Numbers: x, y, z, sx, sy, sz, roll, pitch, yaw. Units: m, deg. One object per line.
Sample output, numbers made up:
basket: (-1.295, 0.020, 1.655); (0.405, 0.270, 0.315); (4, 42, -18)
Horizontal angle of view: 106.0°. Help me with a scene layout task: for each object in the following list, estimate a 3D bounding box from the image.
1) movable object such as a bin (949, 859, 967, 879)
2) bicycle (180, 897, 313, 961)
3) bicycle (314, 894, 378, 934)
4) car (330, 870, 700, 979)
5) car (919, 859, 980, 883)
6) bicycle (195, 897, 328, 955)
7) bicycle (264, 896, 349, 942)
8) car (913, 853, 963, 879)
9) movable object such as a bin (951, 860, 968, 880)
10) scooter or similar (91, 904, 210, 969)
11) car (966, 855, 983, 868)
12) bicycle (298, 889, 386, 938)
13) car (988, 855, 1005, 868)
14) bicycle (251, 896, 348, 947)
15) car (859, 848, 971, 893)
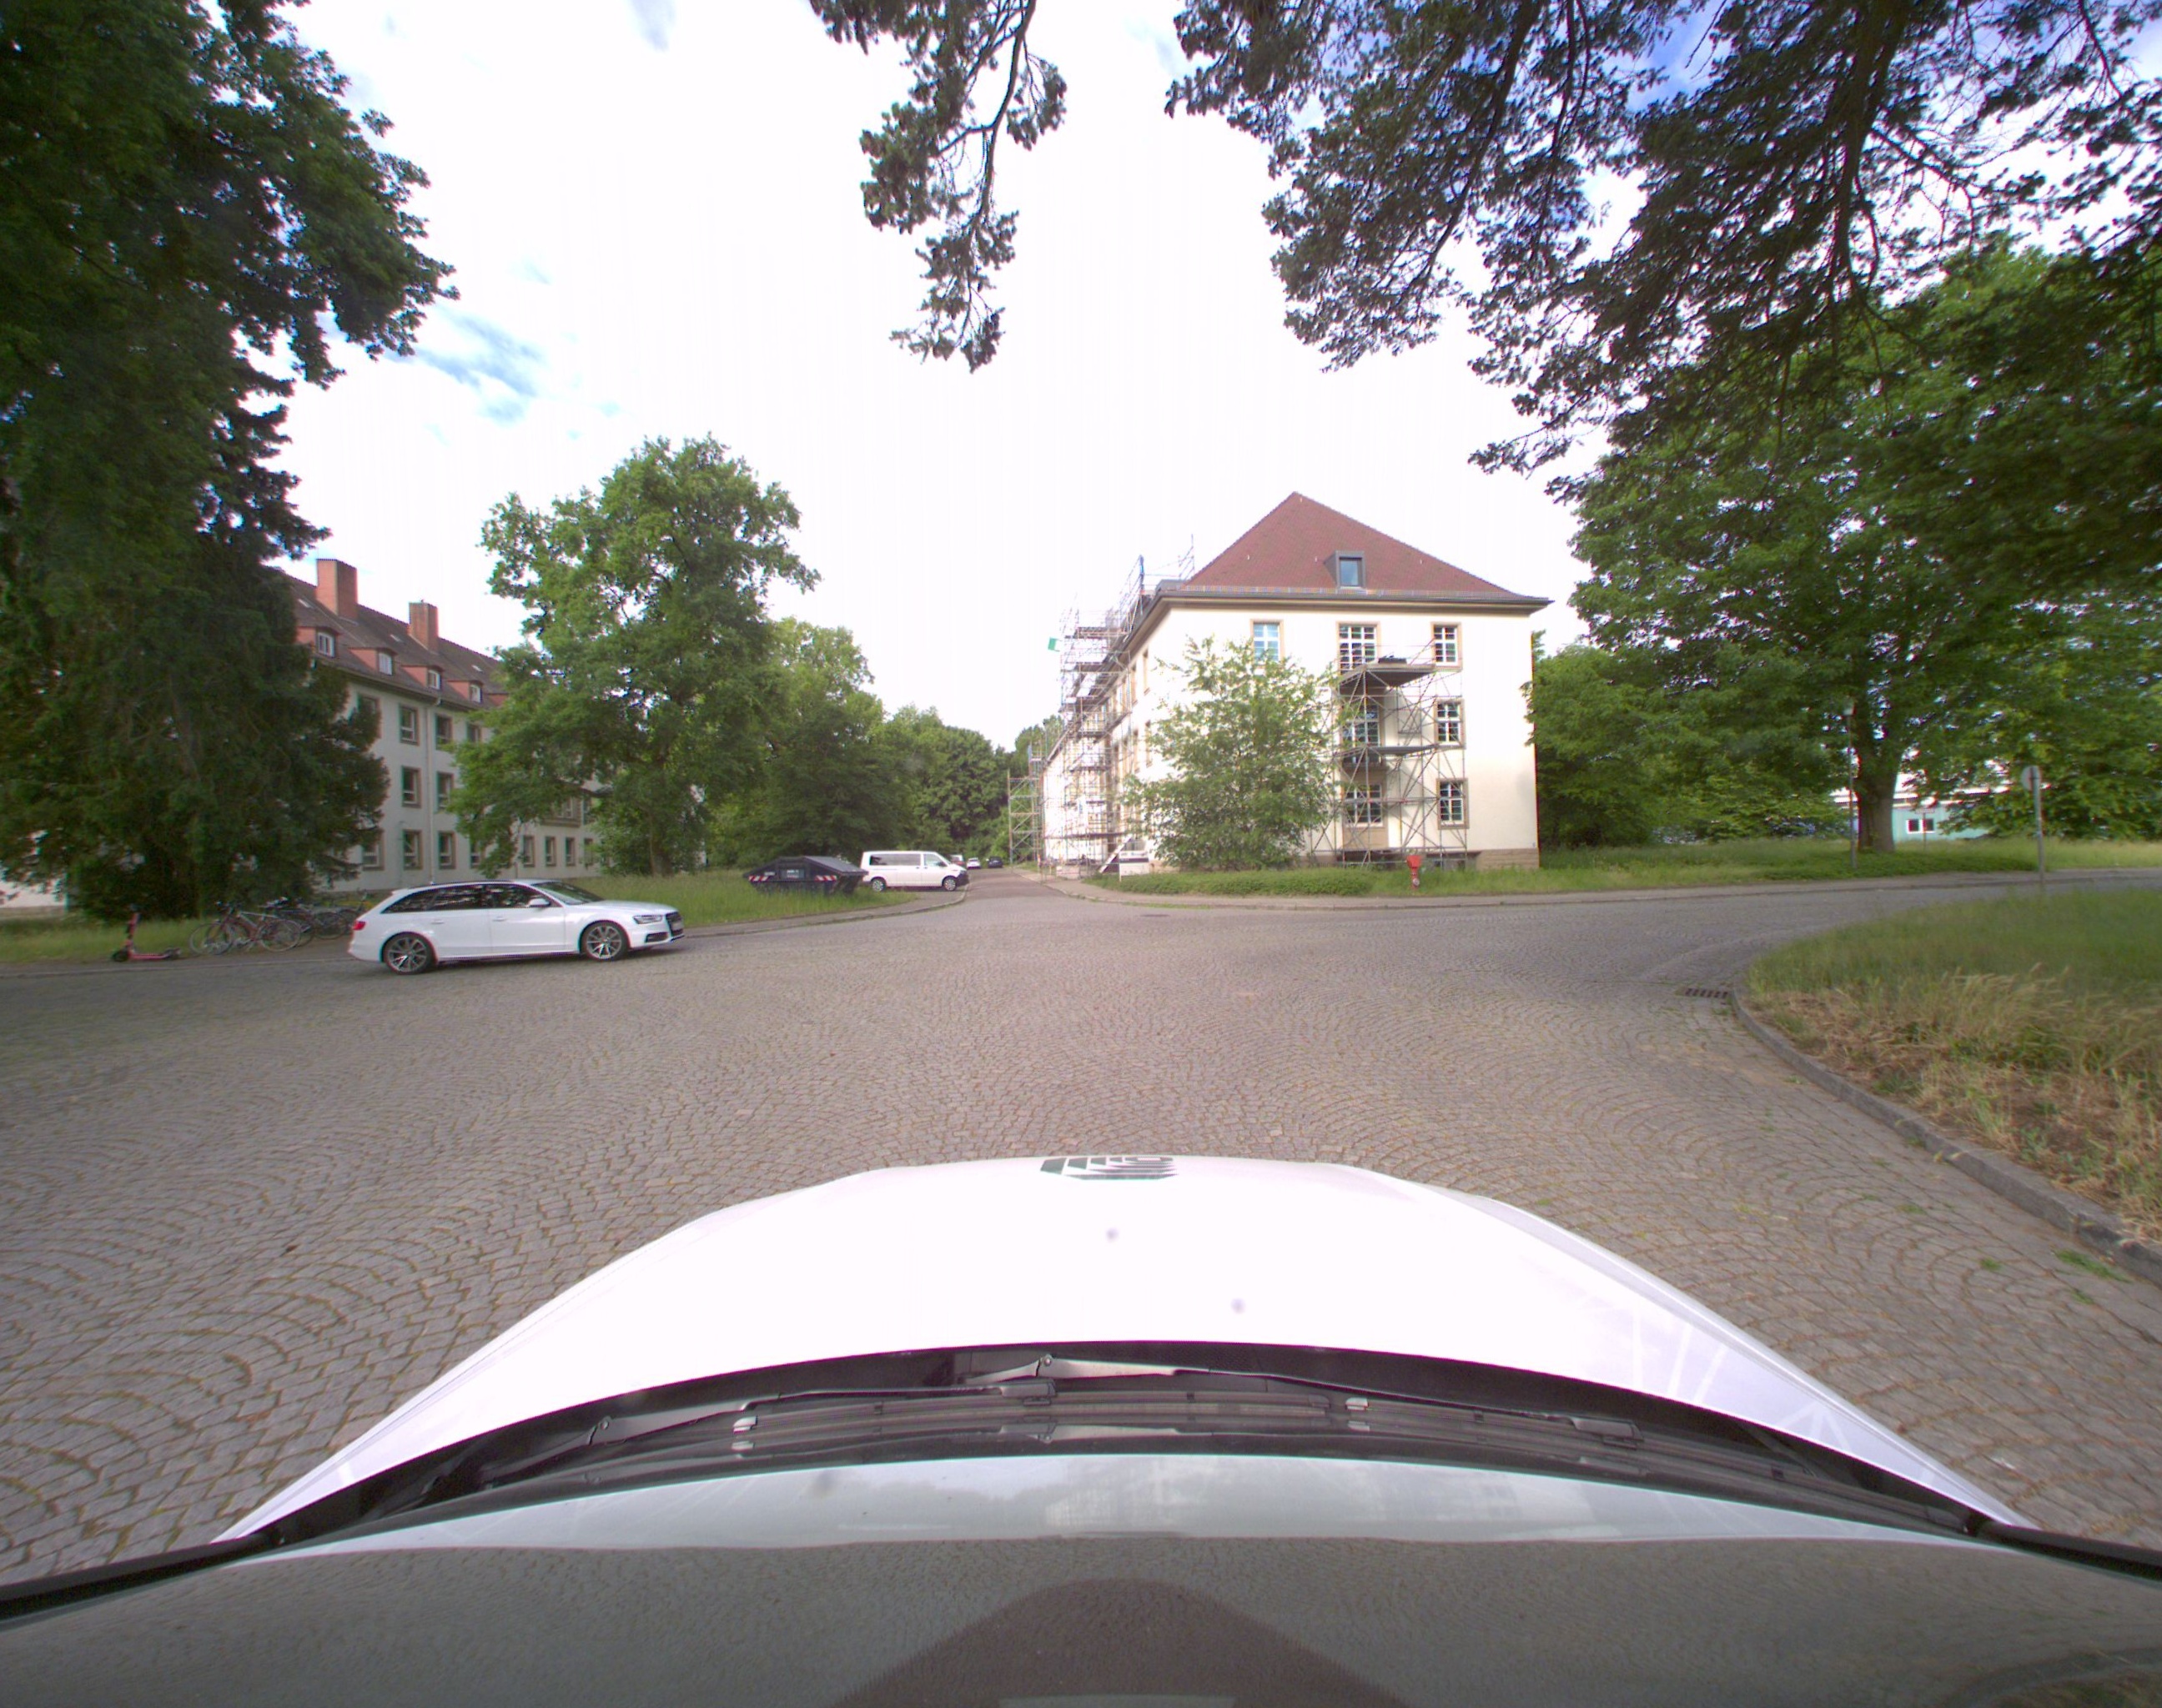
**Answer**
movable object such as a bin: (-8.751, 1.089, 58.050); (1.182, 1.407, 0.973); (1, -1, -7)
bicycle: (-18.322, 1.615, 17.931); (1.905, 1.222, 0.638); (-1, 2, -27)
bicycle: (-21.174, 1.715, 23.468); (1.266, 1.029, 0.430); (-3, -2, -27)
car: (-9.202, 1.093, 13.663); (4.688, 1.437, 1.849); (-2, 1, -9)
car: (-8.477, 1.076, 52.606); (3.616, 1.481, 1.821); (1, -1, 0)
bicycle: (-18.594, 1.622, 18.548); (1.996, 1.114, 0.638); (-2, 2, -27)
bicycle: (-20.096, 1.670, 21.165); (1.523, 1.035, 0.539); (-2, 2, -37)
car: (-11.740, 1.012, 66.886); (3.989, 2.014, 1.914); (1, -1, -12)
movable object such as a bin: (-8.858, 1.149, 59.419); (1.182, 1.407, 0.973); (1, -1, -7)
scooter or similar: (-19.395, 1.703, 16.999); (1.545, 1.195, 0.681); (-2, 1, -4)
car: (-13.802, 0.981, 105.395); (2.001, 1.548, 3.944); (1, -1, -10)
bicycle: (-19.976, 1.589, 22.051); (1.650, 1.185, 0.568); (-2, 2, -33)
car: (-10.959, 1.030, 106.231); (2.060, 1.593, 3.993); (1, -1, -5)
bicycle: (-19.196, 1.632, 20.050); (1.637, 1.073, 0.533); (-2, 2, -37)
car: (-8.003, 0.792, 39.768); (5.198, 2.060, 2.182); (-1, -1, -9)
